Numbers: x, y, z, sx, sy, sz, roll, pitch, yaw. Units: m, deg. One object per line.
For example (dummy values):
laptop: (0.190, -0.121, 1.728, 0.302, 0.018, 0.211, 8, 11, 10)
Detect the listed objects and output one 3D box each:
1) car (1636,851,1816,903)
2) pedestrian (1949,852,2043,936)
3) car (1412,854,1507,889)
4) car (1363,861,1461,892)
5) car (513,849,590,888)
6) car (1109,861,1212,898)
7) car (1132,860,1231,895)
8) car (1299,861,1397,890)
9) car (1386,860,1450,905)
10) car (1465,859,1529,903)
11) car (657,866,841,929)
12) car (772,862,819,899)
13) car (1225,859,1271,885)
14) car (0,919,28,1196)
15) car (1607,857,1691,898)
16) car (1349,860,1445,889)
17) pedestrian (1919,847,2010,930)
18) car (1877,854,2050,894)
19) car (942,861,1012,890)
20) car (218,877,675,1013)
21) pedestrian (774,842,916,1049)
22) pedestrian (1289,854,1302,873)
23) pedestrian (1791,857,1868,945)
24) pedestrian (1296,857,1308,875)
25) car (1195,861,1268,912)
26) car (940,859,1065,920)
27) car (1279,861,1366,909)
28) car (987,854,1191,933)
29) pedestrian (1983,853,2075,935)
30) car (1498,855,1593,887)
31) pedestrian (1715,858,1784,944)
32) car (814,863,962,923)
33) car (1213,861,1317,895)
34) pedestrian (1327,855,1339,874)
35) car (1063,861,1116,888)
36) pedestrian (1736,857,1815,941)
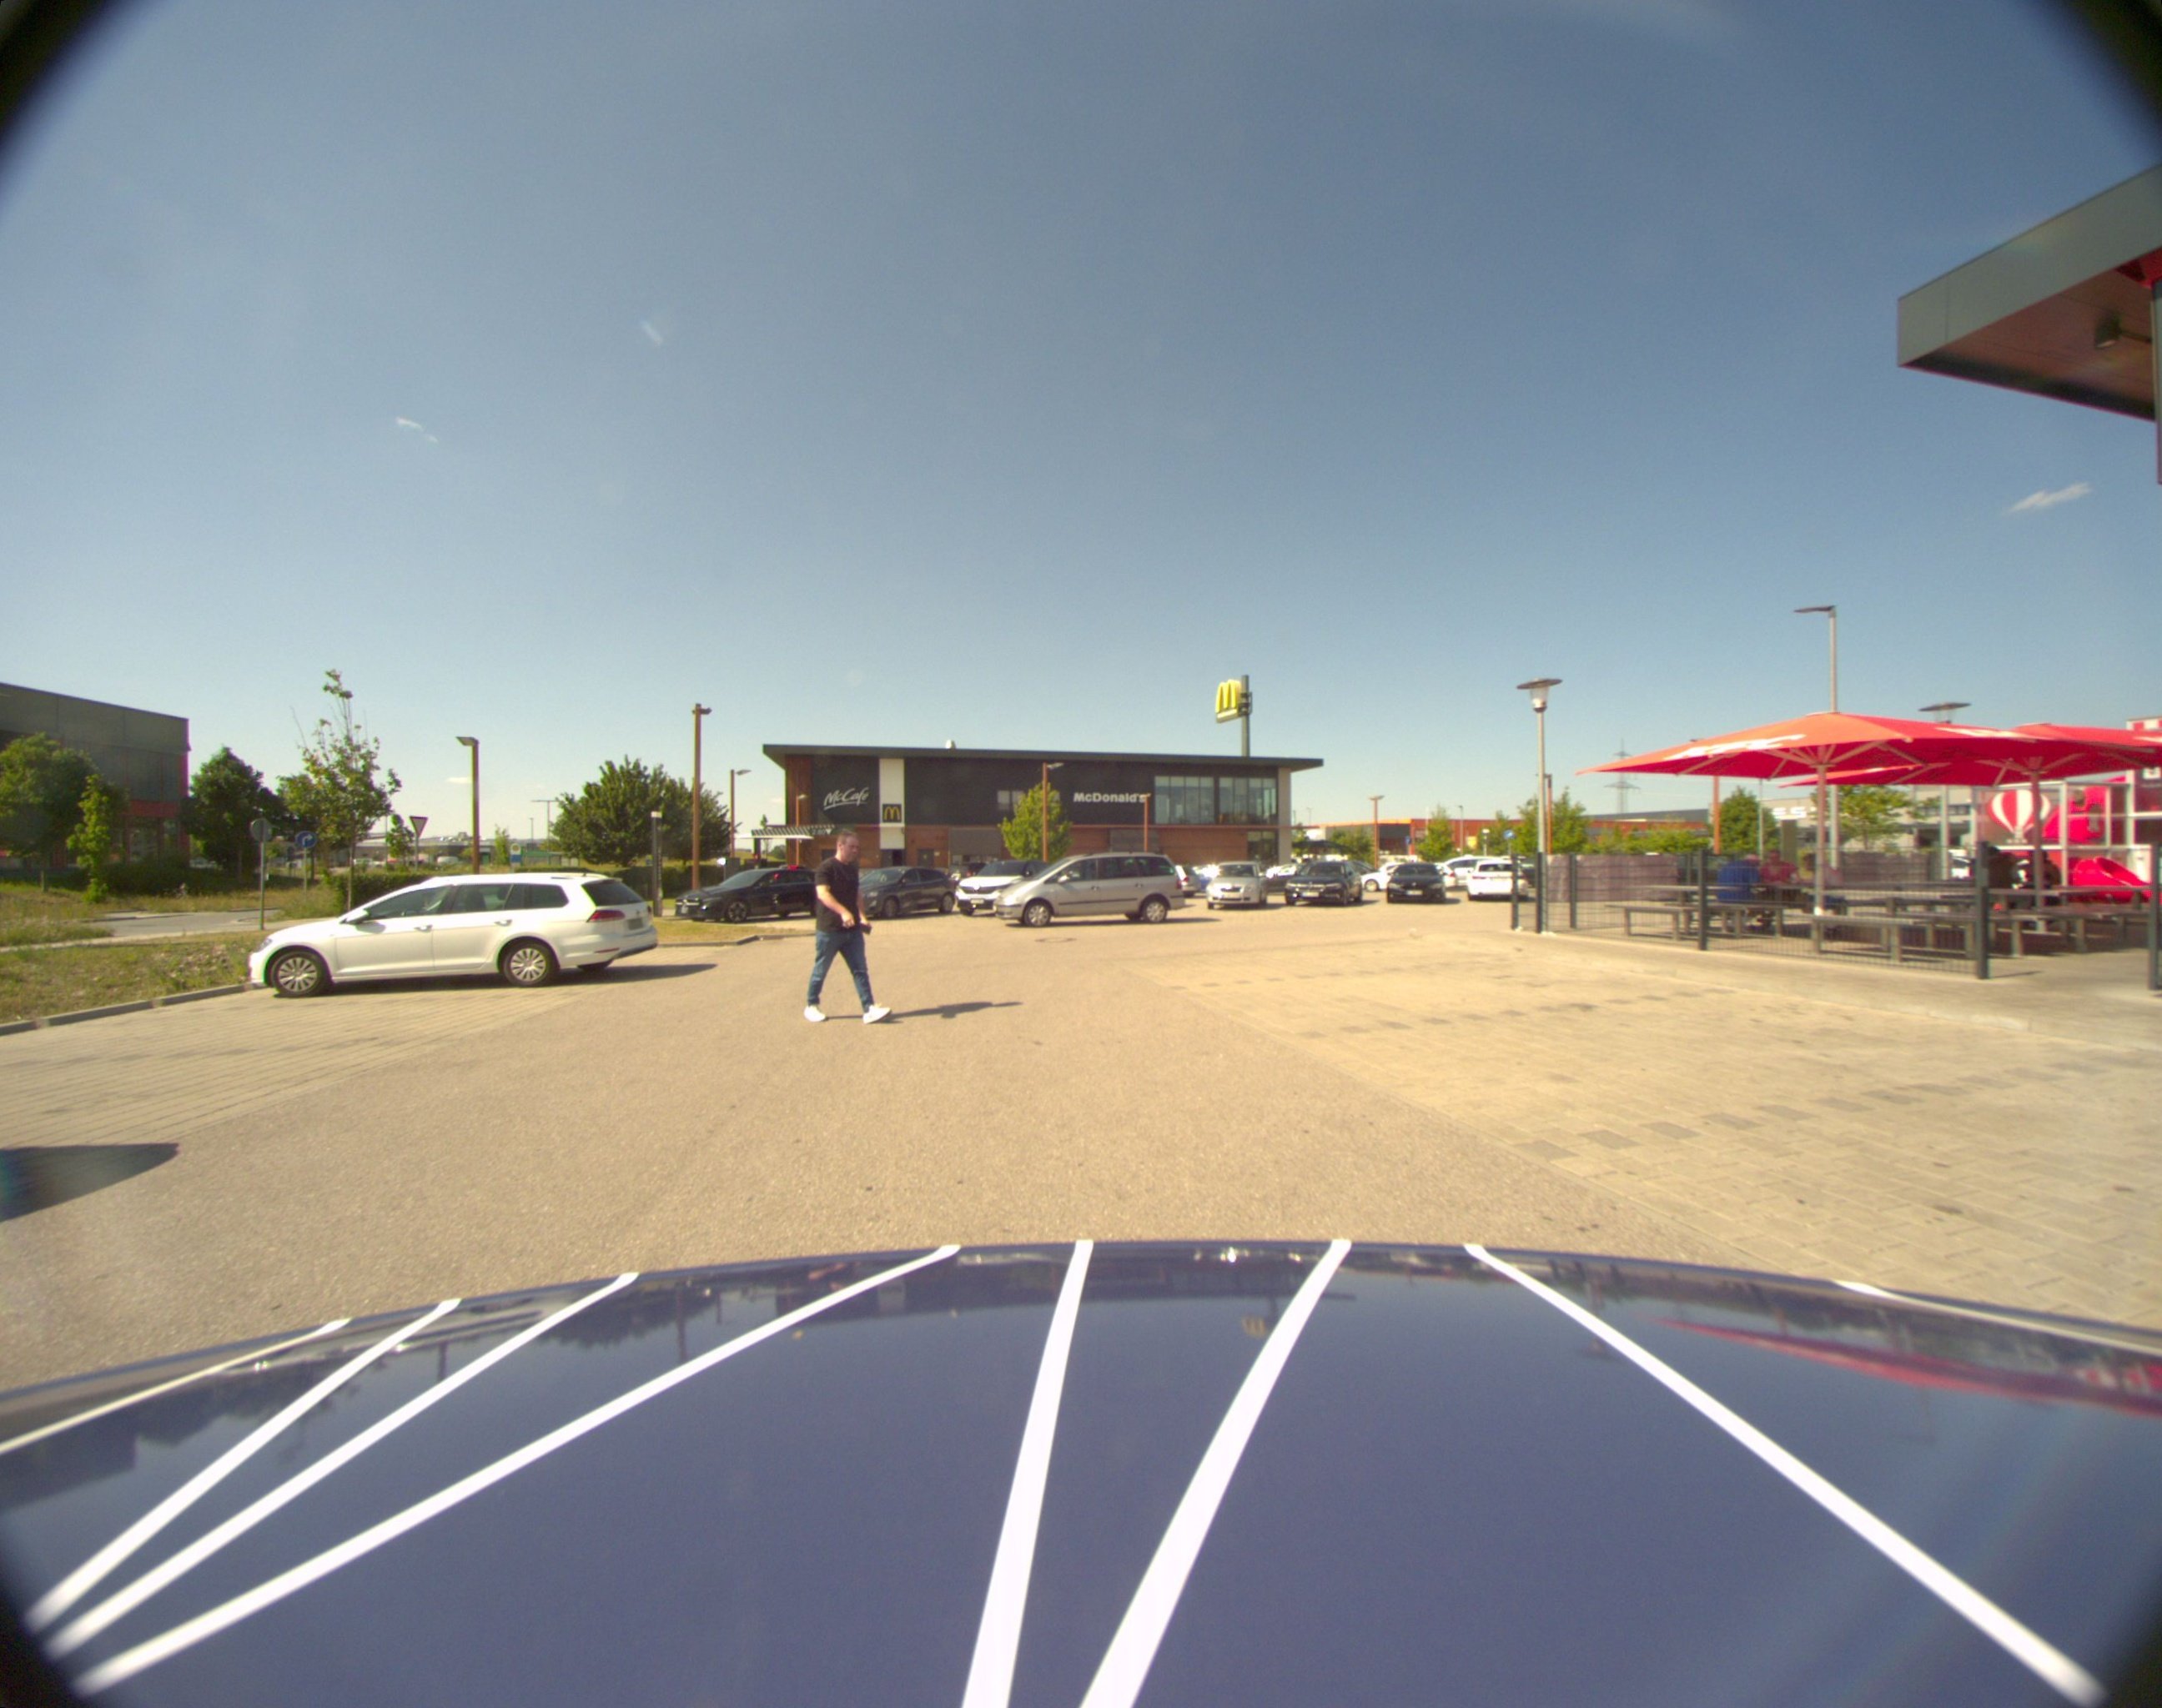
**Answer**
car: (20.928, 0.711, 24.934, 4.291, 1.581, 1.861, 0, 0, 33)
pedestrian: (14.567, 0.620, 12.108, 0.712, 1.297, 0.665, -1, 0, -5)
car: (18.888, 0.883, 37.943, 4.103, 1.664, 1.817, -1, 0, 32)
car: (15.899, 1.067, 36.540, 4.103, 1.405, 1.817, -1, 0, 32)
car: (-31.617, 0.834, 45.569, 2.001, 2.184, 5.101, 0, -1, -13)
car: (3.437, 1.083, 33.006, 4.103, 1.484, 1.715, -1, 0, 32)
car: (4.586, 1.072, 34.829, 4.103, 1.506, 1.817, -1, 0, 32)
car: (14.350, 1.154, 40.940, 4.632, 1.478, 1.899, -1, 0, 32)
car: (11.799, 0.934, 26.482, 1.832, 1.451, 4.379, -1, -1, 26)
car: (14.826, 0.911, 27.165, 1.832, 1.451, 4.593, -1, -1, 28)
car: (-9.001, 1.109, 20.986, 1.970, 1.517, 4.342, 0, 0, 30)
car: (-14.121, 1.260, 37.767, 1.999, 1.681, 4.229, 0, 0, -18)
car: (10.826, 1.152, 49.060, 1.712, 1.603, 4.044, -1, -1, 30)
car: (-7.789, 1.144, 2.912, 4.353, 1.460, 1.832, -2, 0, -8)
car: (21.636, 0.855, 29.106, 1.970, 1.451, 4.215, -1, -1, 28)
car: (17.549, 1.138, 42.255, 4.632, 1.478, 1.899, -1, 0, 32)
pedestrian: (15.249, 0.581, 13.131, 0.807, 1.379, 0.665, -1, 0, -5)
car: (38.302, 0.824, 33.173, 1.844, 1.583, 4.570, 0, 0, -18)
car: (-6.070, 1.227, 44.893, 1.957, 1.593, 4.476, -1, -1, 25)
car: (-8.343, 1.140, 10.422, 4.481, 1.460, 1.832, -2, 0, -7)
pedestrian: (-2.207, 0.807, 7.135, 0.992, 1.798, 0.727, -1, 1, 26)
pedestrian: (18.007, 0.807, 63.744, 0.724, 1.550, 0.700, 0, 0, -43)
pedestrian: (11.105, 0.677, 11.286, 0.552, 1.266, 0.684, 0, 0, -30)
pedestrian: (19.190, 1.025, 65.974, 0.724, 1.550, 0.700, 0, 0, -43)
car: (4.940, 0.989, 24.562, 1.971, 1.517, 4.213, -1, -1, 16)
car: (-2.232, 0.997, 22.845, 1.971, 1.644, 4.214, -1, -1, 22)
car: (8.310, 0.986, 25.834, 1.970, 1.478, 4.793, -1, -1, 28)
car: (0.162, 0.899, 18.645, 4.686, 1.738, 1.831, -1, 0, -15)
pedestrian: (15.438, 0.634, 12.391, 0.687, 1.297, 0.665, -1, 0, -5)
car: (23.384, 0.841, 38.399, 3.989, 1.543, 1.758, -1, -1, 29)
pedestrian: (10.215, 0.701, 11.615, 0.625, 1.266, 0.612, 0, 0, -30)
car: (-5.418, 1.044, 21.930, 1.971, 1.517, 4.214, -1, -1, 23)
car: (8.465, 1.095, 35.068, 4.268, 1.478, 1.817, -1, 0, 32)
pedestrian: (20.857, 0.829, 62.848, 0.702, 1.550, 0.721, -1, 0, -14)
car: (0.588, 1.187, 46.229, 1.710, 1.506, 3.957, 0, 0, 26)
pedestrian: (10.982, 0.684, 12.020, 0.843, 1.266, 0.684, 0, 0, -30)
